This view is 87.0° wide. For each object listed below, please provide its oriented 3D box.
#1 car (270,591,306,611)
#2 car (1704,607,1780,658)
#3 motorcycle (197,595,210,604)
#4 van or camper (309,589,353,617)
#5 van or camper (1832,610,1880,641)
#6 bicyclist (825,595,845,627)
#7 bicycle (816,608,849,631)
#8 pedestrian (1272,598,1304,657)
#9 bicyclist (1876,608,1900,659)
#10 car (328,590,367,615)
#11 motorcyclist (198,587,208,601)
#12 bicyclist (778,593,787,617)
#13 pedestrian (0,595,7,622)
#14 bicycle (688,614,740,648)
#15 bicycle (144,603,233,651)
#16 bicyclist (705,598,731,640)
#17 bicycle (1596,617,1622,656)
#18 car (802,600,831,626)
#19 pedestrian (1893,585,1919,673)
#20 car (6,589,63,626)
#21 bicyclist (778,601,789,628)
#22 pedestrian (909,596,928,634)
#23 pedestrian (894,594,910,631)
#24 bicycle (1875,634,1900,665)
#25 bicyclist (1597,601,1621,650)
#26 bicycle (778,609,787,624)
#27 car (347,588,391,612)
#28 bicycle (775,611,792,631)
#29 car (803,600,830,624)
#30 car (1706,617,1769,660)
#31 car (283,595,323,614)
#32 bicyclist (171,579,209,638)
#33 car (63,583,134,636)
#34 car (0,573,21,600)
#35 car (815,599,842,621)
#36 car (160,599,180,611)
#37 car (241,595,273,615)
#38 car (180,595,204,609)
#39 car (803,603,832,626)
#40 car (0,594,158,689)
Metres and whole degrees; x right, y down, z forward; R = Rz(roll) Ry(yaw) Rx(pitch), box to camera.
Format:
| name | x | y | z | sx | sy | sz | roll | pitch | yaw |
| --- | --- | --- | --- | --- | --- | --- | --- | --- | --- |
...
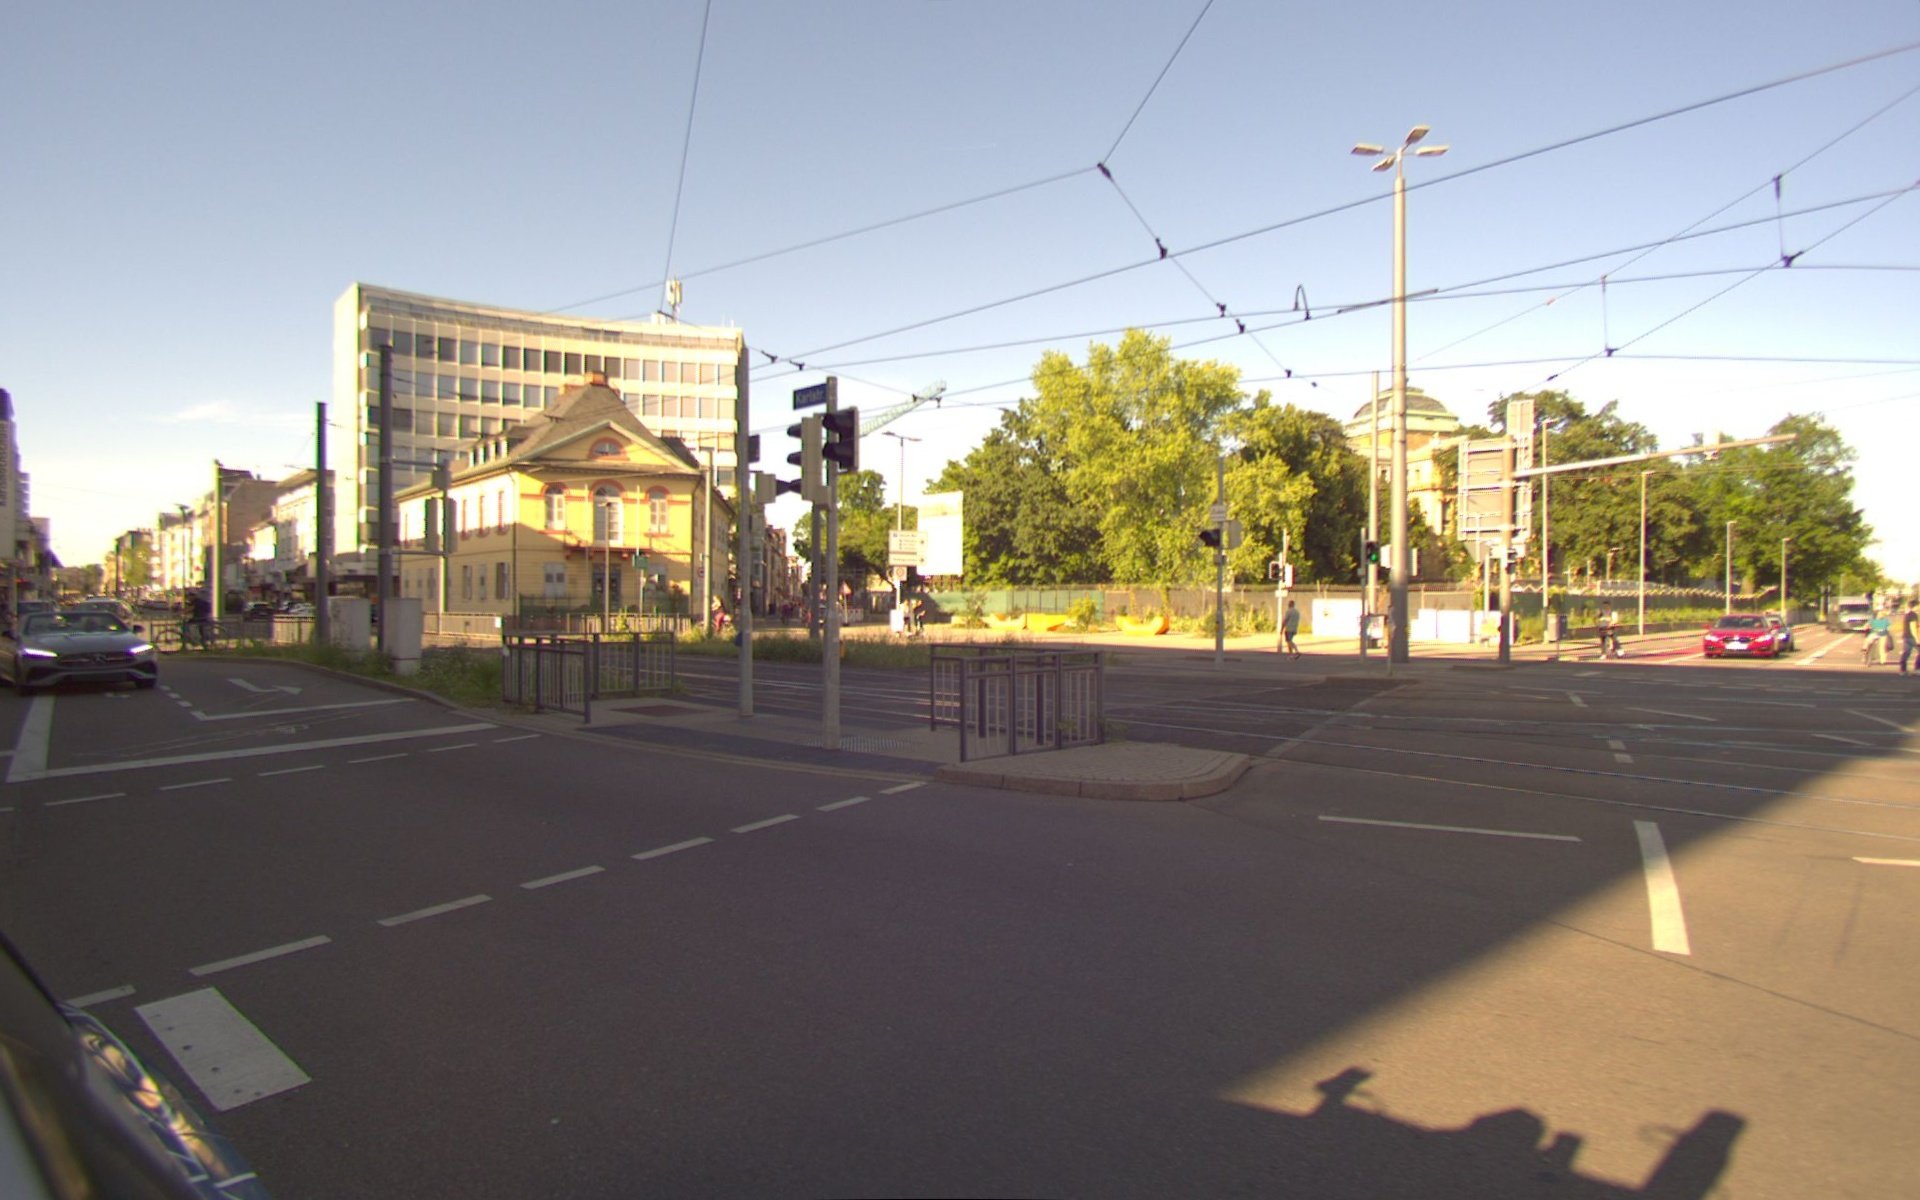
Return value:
| name | x | y | z | sx | sy | sz | roll | pitch | yaw |
| --- | --- | --- | --- | --- | --- | --- | --- | --- | --- |
| car | -58.868 | 0.094 | 88.620 | 1.903 | 1.654 | 4.286 | -2 | 2 | -44 |
| car | 25.450 | 1.039 | 32.867 | 1.781 | 1.521 | 4.503 | 0 | -1 | 40 |
| motorcycle | -83.557 | -0.085 | 111.772 | 2.154 | 0.933 | 0.593 | 1 | 1 | 39 |
| van or camper | -46.627 | 0.181 | 75.001 | 1.931 | 1.988 | 4.803 | -2 | 2 | -42 |
| van or camper | 62.520 | 1.740 | 70.697 | 1.976 | 2.016 | 4.305 | 1 | 1 | 35 |
| bicyclist | -5.752 | 0.508 | 46.563 | 0.655 | 1.465 | 0.732 | 0 | 1 | -40 |
| bicycle | -5.896 | 0.886 | 46.695 | 0.641 | 1.021 | 1.889 | 0 | 1 | -38 |
| pedestrian | 9.704 | 0.814 | 29.930 | 0.705 | 1.701 | 0.618 | -2 | -1 | 38 |
| bicyclist | 24.849 | 0.893 | 27.115 | 0.399 | 1.325 | 0.454 | 0 | 1 | 34 |
| car | -42.816 | 0.134 | 70.662 | 1.754 | 1.632 | 4.184 | -2 | 2 | -39 |
| motorcyclist | -83.615 | -0.634 | 111.802 | 0.883 | 1.570 | 0.646 | 1 | 1 | 38 |
| bicyclist | -12.114 | 0.339 | 69.059 | 0.513 | 1.686 | 0.772 | 0 | 0 | -13 |
| pedestrian | -65.968 | 0.592 | 69.521 | 0.727 | 1.831 | 0.749 | 0 | 1 | -44 |
| bicycle | -9.863 | 1.231 | 40.538 | 2.007 | 1.300 | 0.573 | 0 | 0 | 14 |
| bicycle | -20.598 | 0.708 | 27.053 | 0.641 | 1.221 | 1.803 | 1 | 1 | 37 |
| bicyclist | -9.678 | 0.770 | 40.482 | 0.799 | 1.661 | 0.587 | -1 | 0 | 15 |
| bicycle | 20.377 | 1.141 | 31.782 | 0.611 | 1.142 | 1.482 | 1 | 1 | 36 |
| car | -9.745 | 0.874 | 68.684 | 1.863 | 1.682 | 3.871 | 0 | 1 | -9 |
| pedestrian | 21.683 | 0.644 | 22.748 | 0.712 | 1.948 | 0.801 | 0 | 0 | -20 |
| car | -41.922 | 0.314 | 45.906 | 1.755 | 1.580 | 3.967 | 2 | -1 | -41 |
| bicyclist | -11.205 | 0.903 | 64.220 | 0.513 | 1.686 | 0.773 | 0 | 0 | -27 |
| pedestrian | -2.089 | 0.755 | 51.267 | 0.695 | 1.865 | 0.742 | 0 | 0 | -29 |
| pedestrian | -2.916 | 0.630 | 50.809 | 0.586 | 1.831 | 0.707 | 0 | 0 | -29 |
| bicycle | 24.841 | 1.322 | 27.107 | 0.319 | 0.769 | 1.162 | 1 | 1 | 34 |
| bicyclist | 20.426 | 0.802 | 31.855 | 0.609 | 1.504 | 0.609 | 1 | 1 | 36 |
| bicycle | -12.125 | 1.128 | 69.102 | 0.522 | 1.021 | 1.890 | 0 | 1 | -13 |
| car | -38.864 | -0.017 | 66.503 | 1.755 | 1.450 | 3.967 | -2 | 2 | -41 |
| bicycle | -11.217 | 1.311 | 64.209 | 0.522 | 1.223 | 1.891 | 0 | 1 | -27 |
| car | -10.442 | 0.850 | 73.805 | 1.775 | 1.682 | 3.761 | 0 | 1 | -5 |
| car | 29.705 | 1.422 | 38.632 | 1.575 | 1.483 | 3.660 | 1 | 1 | 43 |
| car | -55.381 | 0.334 | 85.263 | 4.296 | 1.463 | 1.904 | 1 | 2 | 45 |
| bicyclist | -20.591 | 0.216 | 27.054 | 0.634 | 1.535 | 0.674 | 1 | 1 | 37 |
| car | -29.034 | 0.296 | 34.102 | 1.711 | 1.676 | 3.967 | 2 | -1 | -41 |
| car | -61.798 | -0.898 | 65.177 | 1.756 | 1.676 | 4.169 | 2 | -1 | -41 |
| car | -10.218 | 0.750 | 78.858 | 1.776 | 1.682 | 3.758 | 0 | 1 | -2 |
| car | -102.754 | 0.700 | 131.609 | 1.755 | 1.521 | 3.865 | 2 | -1 | -42 |
| car | -57.052 | 0.394 | 82.065 | 1.664 | 1.572 | 4.128 | 0 | 1 | -42 |
| car | -88.196 | 0.182 | 116.164 | 1.755 | 1.521 | 4.675 | 2 | -1 | -42 |
| car | -8.829 | 0.895 | 62.915 | 1.625 | 1.357 | 3.765 | 0 | 1 | -6 |
| car | -16.130 | 0.644 | 18.218 | 4.772 | 1.450 | 1.845 | 1 | 1 | 41 |
